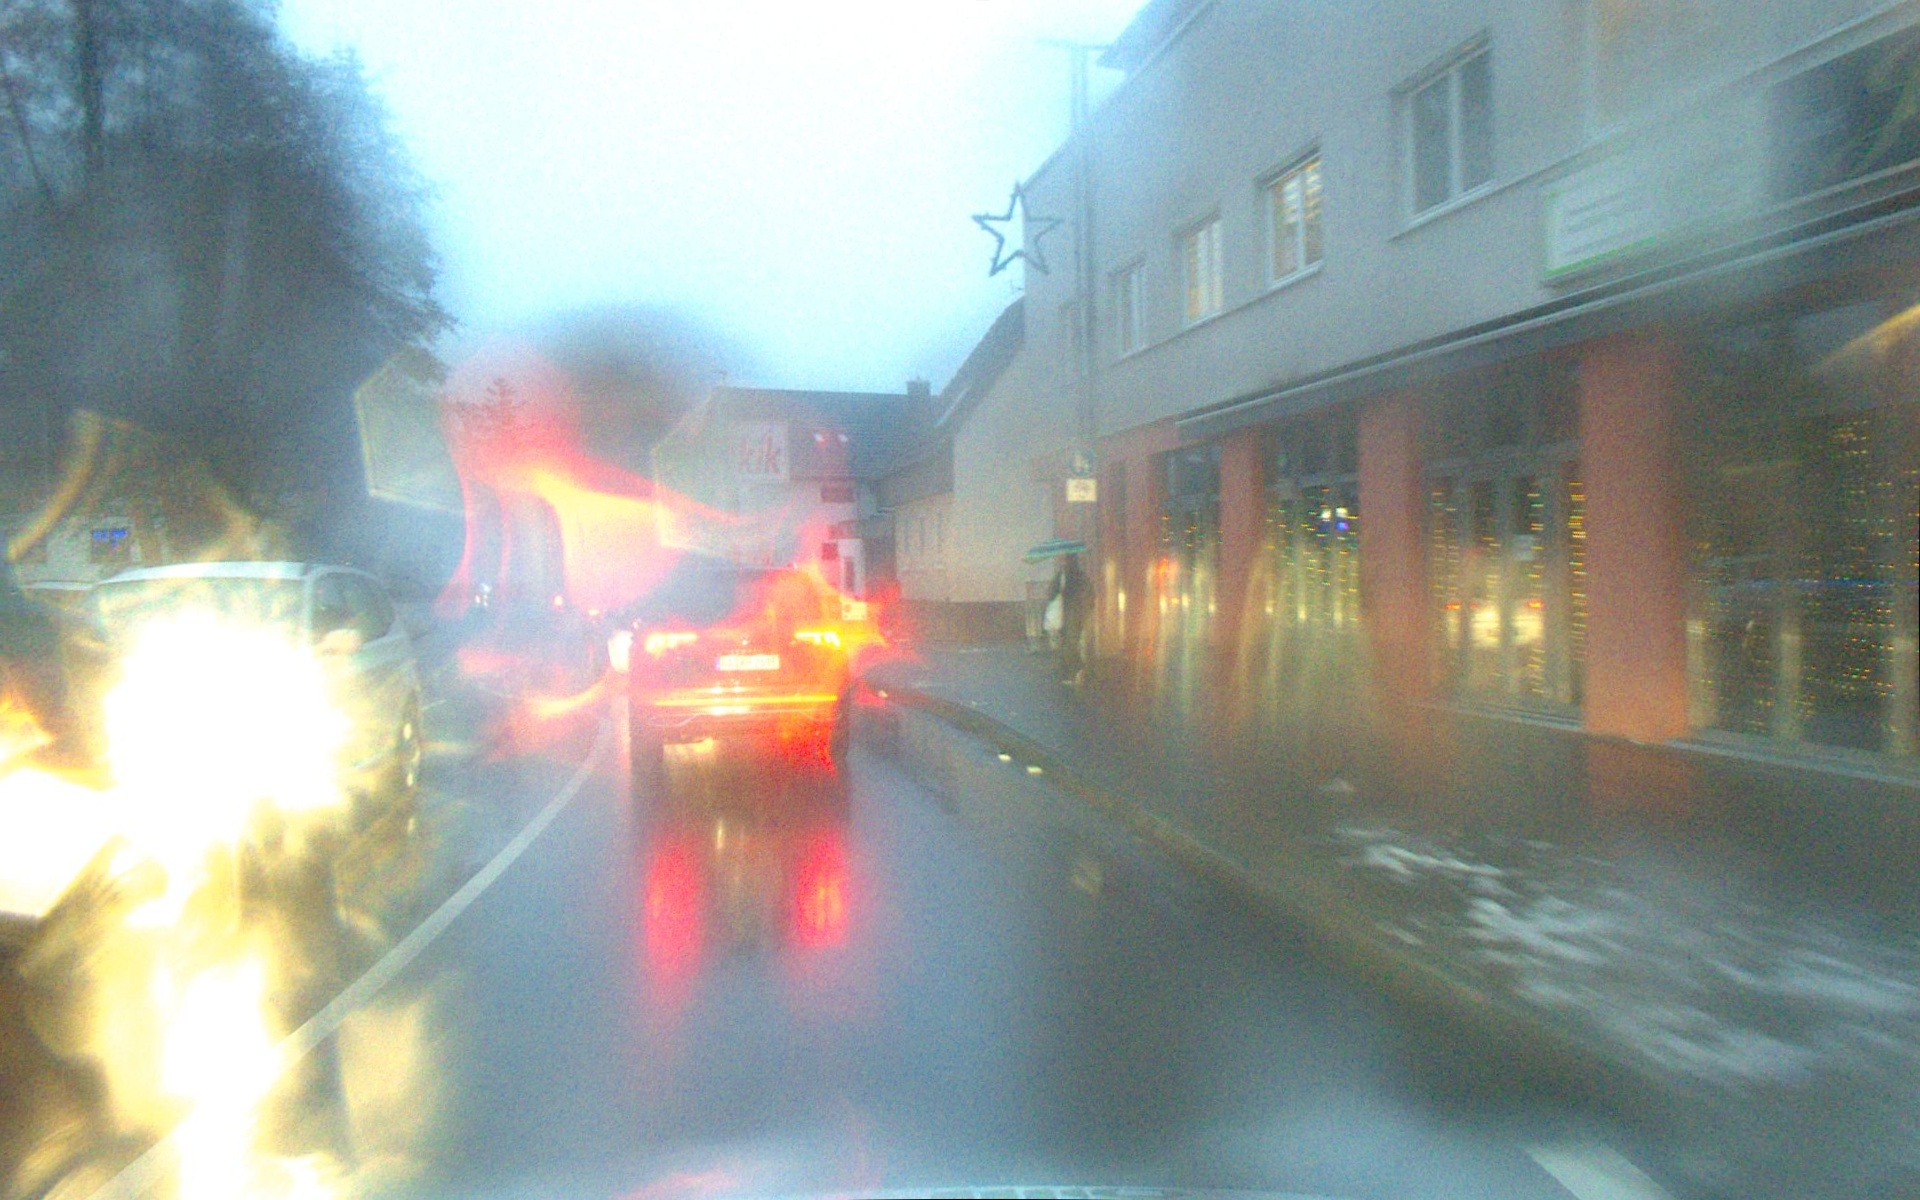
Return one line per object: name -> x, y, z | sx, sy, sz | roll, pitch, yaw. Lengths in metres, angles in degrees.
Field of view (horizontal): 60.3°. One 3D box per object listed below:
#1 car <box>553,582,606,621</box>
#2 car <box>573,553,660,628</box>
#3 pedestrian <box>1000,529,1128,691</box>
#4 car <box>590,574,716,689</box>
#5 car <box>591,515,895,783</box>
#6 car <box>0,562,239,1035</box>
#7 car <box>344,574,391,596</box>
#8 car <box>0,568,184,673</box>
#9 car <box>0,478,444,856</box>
car -> -14.743, 0.033, 63.921 | 1.812, 1.355, 3.922 | -2, 1, -15
car -> -9.823, -0.268, 47.182 | 2.269, 1.972, 5.002 | -2, 1, -13
pedestrian -> 1.283, 0.108, 20.683 | 1.232, 1.898, 1.300 | -3, 1, -11
car -> -4.951, 0.429, 26.468 | 1.825, 1.676, 3.988 | 0, 1, -12
car -> -2.111, 0.340, 15.114 | 2.268, 1.972, 5.005 | -2, 1, -11
car -> -3.954, 0.649, 5.208 | 1.736, 1.521, 4.040 | -1, 1, -3
car -> -59.663, -1.493, 166.643 | 4.198, 2.048, 1.794 | -2, 1, -28
car -> -15.984, 0.334, 28.972 | 4.168, 1.729, 1.887 | 2, 0, -23
car -> -4.460, 0.272, 9.906 | 1.737, 1.753, 4.416 | -1, 1, -6
